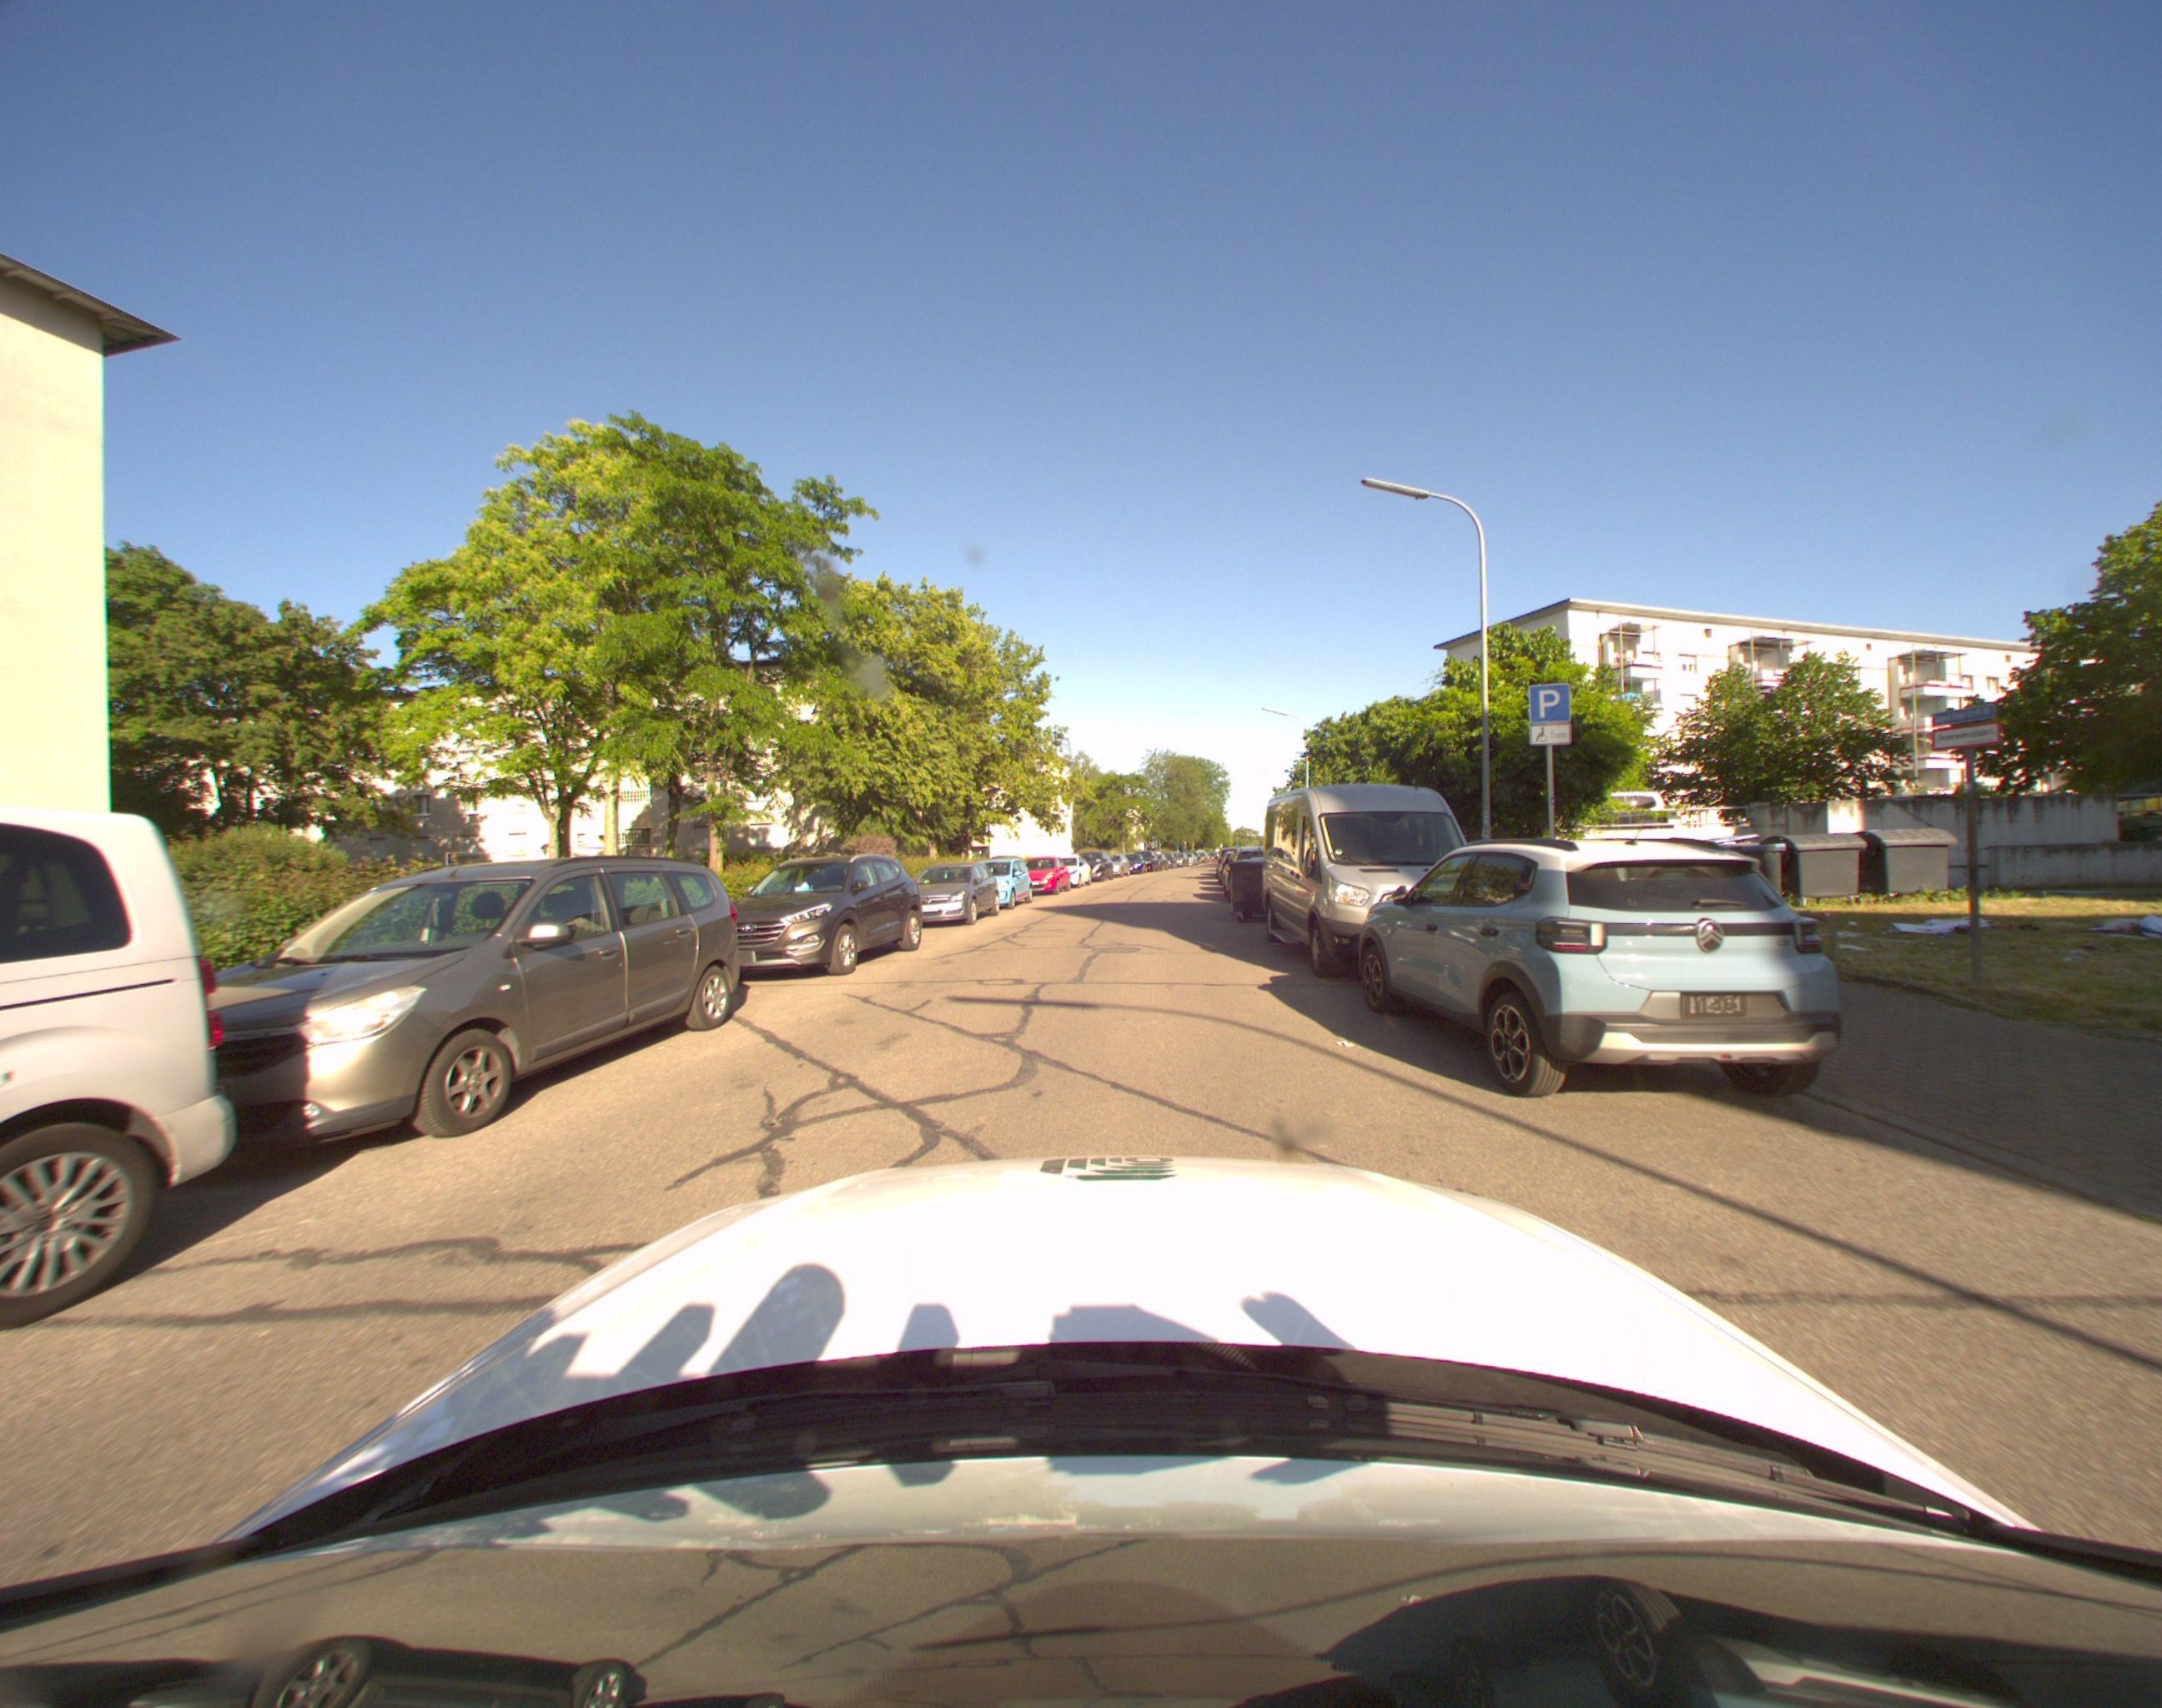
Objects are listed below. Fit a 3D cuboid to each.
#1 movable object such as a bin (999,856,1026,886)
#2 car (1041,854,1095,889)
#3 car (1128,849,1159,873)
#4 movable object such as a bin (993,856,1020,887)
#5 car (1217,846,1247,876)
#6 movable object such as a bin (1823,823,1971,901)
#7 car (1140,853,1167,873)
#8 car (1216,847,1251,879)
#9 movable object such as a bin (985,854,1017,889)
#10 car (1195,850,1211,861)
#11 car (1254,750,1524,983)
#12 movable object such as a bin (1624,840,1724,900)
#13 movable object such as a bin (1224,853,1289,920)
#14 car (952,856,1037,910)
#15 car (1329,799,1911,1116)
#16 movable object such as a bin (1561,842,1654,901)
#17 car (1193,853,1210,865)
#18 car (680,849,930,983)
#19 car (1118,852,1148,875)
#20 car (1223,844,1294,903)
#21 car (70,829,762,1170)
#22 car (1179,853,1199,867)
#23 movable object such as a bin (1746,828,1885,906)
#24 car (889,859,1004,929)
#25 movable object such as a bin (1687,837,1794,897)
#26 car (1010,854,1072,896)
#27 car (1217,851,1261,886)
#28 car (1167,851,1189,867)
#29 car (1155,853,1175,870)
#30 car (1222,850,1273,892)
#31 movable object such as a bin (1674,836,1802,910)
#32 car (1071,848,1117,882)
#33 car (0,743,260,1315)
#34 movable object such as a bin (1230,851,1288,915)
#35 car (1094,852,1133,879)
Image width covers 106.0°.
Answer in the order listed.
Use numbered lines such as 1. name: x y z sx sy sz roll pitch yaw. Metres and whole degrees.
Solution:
1. movable object such as a bin: -3.372 0.821 40.042 0.982 1.418 1.318 -2 0 8
2. car: -0.552 0.765 37.357 1.660 1.421 3.912 -3 0 10
3. car: 4.749 0.484 61.438 1.649 1.688 4.063 -3 0 12
4. movable object such as a bin: -3.549 0.822 38.698 0.983 1.418 1.317 -2 0 6
5. car: 8.999 0.373 48.504 1.642 1.698 4.246 0 0 11
6. movable object such as a bin: 15.588 0.152 15.633 1.418 1.373 1.385 -3 -1 9
7. car: 5.960 0.694 66.299 1.649 1.439 3.772 -3 0 12
8. car: 8.059 0.445 43.313 1.719 1.619 4.244 0 0 9
9. movable object such as a bin: -3.631 0.779 37.061 1.105 1.498 1.411 -2 0 6
10. car: 16.164 0.176 107.931 1.498 1.329 3.482 -3 0 16
11. car: 3.913 0.138 11.661 2.095 2.486 5.863 0 0 5
12. movable object such as a bin: 13.998 0.368 19.295 1.404 1.305 1.385 -2 0 9
13. movable object such as a bin: 3.783 0.685 17.485 1.260 1.313 1.126 -3 1 13
14. car: -2.579 0.831 25.085 1.661 1.474 3.686 -3 0 8
15. car: 3.578 0.565 6.600 1.902 1.666 4.377 -2 0 2
16. movable object such as a bin: 12.571 0.411 19.517 1.404 1.305 1.385 -2 0 9
17. car: 15.187 0.578 102.595 1.498 1.381 3.482 -3 0 16
18. car: -3.847 0.773 12.300 1.738 1.617 4.372 -2 0 8
19. car: 3.572 0.630 55.800 1.651 1.426 4.059 -3 0 8
20. car: 5.445 0.526 25.407 1.800 1.664 4.472 0 0 8
21. car: -4.296 0.748 6.361 1.548 1.722 4.346 -2 0 5
22. car: 11.548 0.660 86.831 1.498 1.364 3.482 -3 0 16
23. movable object such as a bin: 14.132 0.247 15.743 1.418 1.373 1.385 -3 -1 9
24. car: -3.146 0.896 19.876 1.662 1.437 4.007 -3 0 6
25. movable object such as a bin: 15.418 0.303 19.098 1.404 1.305 1.385 -2 0 9
26. car: -1.498 0.765 31.839 1.661 1.474 3.686 -3 0 8
27. car: 7.063 0.603 36.675 1.672 1.456 4.300 0 0 7
28. car: 9.633 0.462 80.763 1.498 1.451 3.706 -3 0 16
29. car: 7.661 0.684 74.324 1.379 1.413 3.136 -3 0 13
30. car: 6.316 0.600 31.255 1.675 1.487 3.833 1 0 8
31. movable object such as a bin: 12.693 0.357 15.819 1.404 1.305 1.385 -2 0 9
32. car: 0.745 0.581 43.967 1.659 1.666 4.420 -3 0 11
33. car: -4.720 0.632 1.315 1.856 1.961 4.674 -2 0 3
34. movable object such as a bin: 4.082 0.642 18.622 1.219 1.397 1.174 -2 0 13
35. car: 2.029 0.693 50.444 1.649 1.486 4.066 -3 0 12
